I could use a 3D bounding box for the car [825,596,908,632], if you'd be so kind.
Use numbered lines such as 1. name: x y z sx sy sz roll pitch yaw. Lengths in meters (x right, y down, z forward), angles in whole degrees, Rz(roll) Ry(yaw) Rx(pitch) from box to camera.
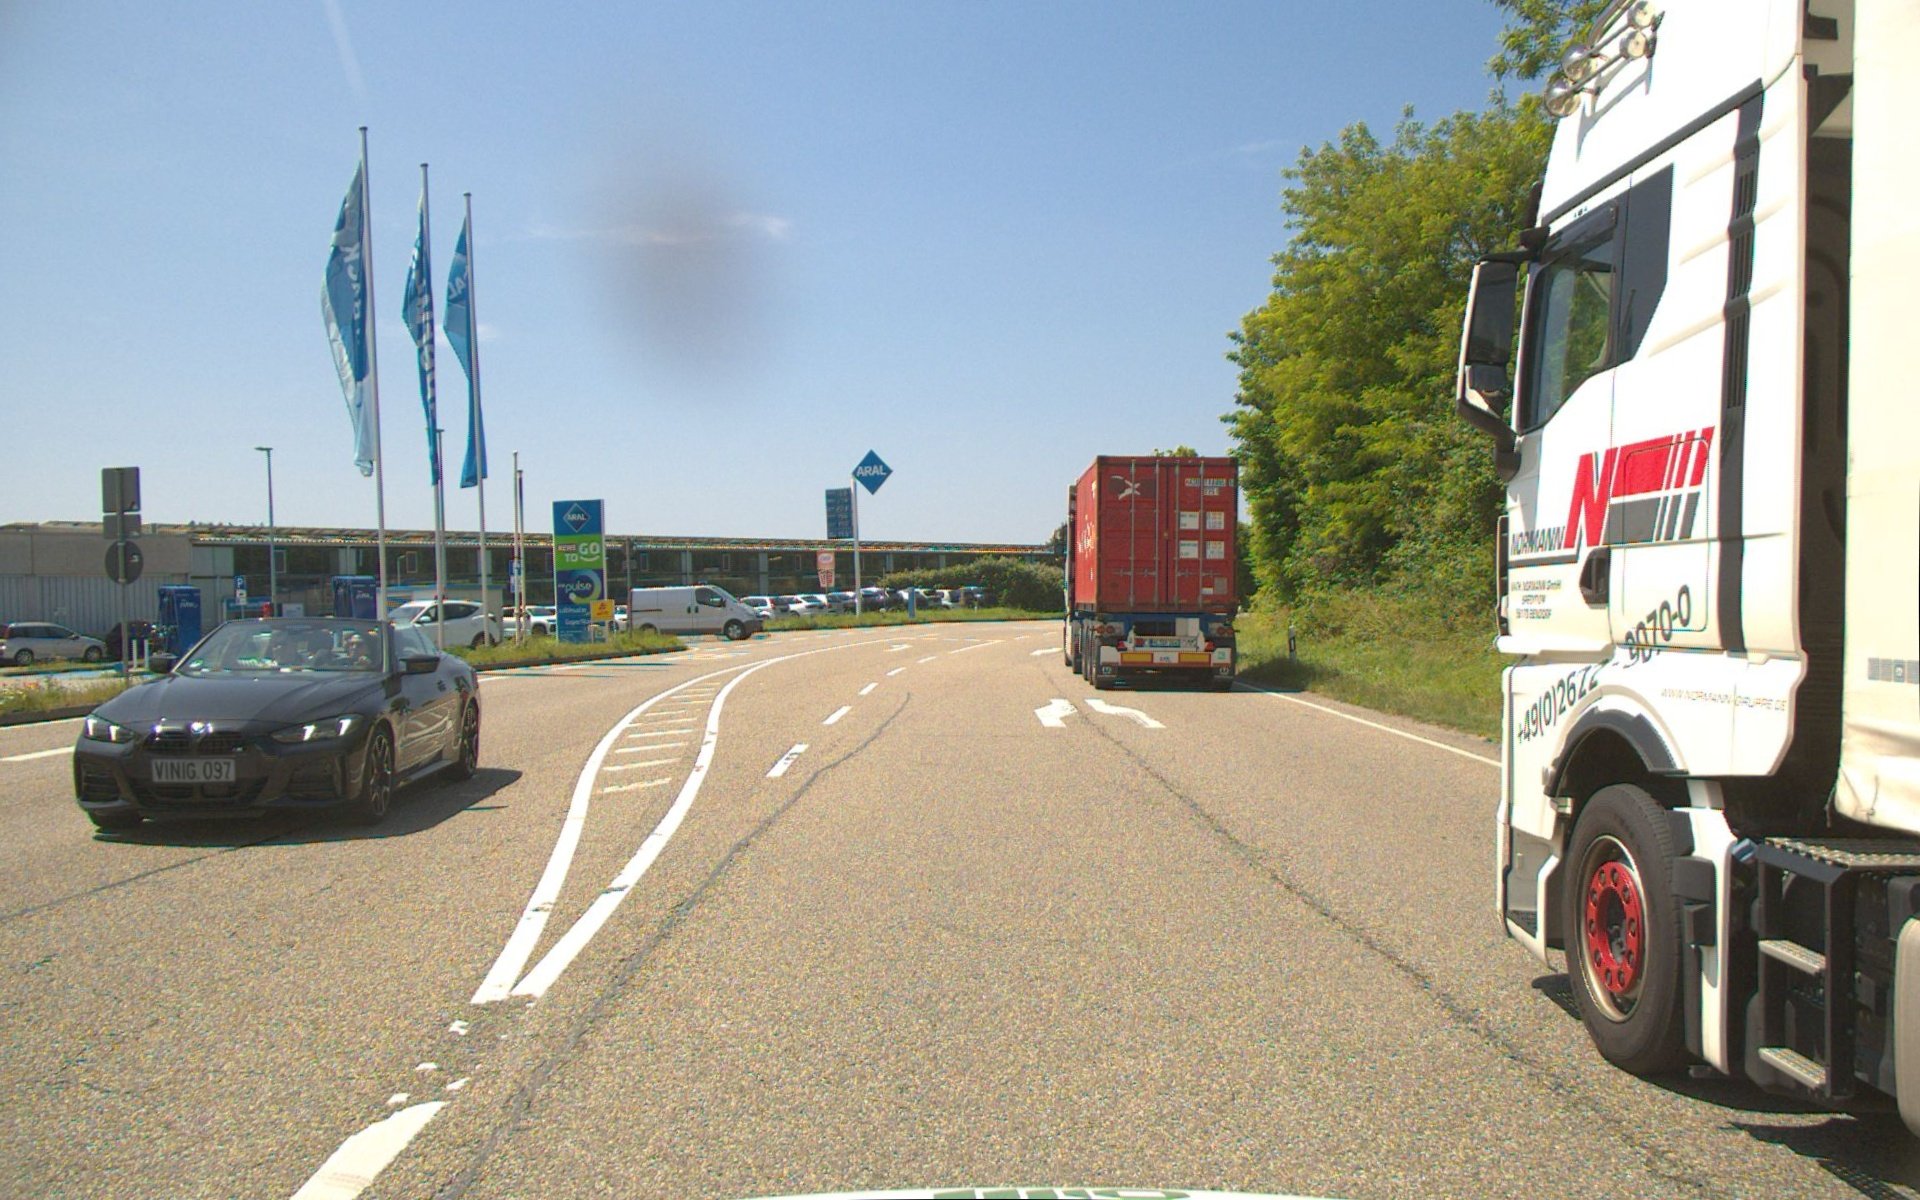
1. car: -4.880 0.744 86.234 3.911 1.780 1.997 -1 -1 29

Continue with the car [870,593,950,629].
1. car: -2.774 0.610 91.310 3.910 1.780 1.997 -2 0 28

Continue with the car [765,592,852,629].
1. car: -7.535 0.515 82.214 3.911 1.780 1.932 -1 0 29

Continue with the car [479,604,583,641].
1. car: -20.230 1.065 78.036 4.489 1.530 1.998 -2 0 26

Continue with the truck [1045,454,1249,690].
1. truck: 3.459 -0.507 34.243 2.593 3.873 13.358 1 0 0

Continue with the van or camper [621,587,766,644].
1. van or camper: -9.377 0.561 58.474 4.746 1.938 1.905 0 -1 2

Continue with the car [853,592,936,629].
1. car: -3.501 0.557 88.639 3.910 1.780 1.997 -2 0 28

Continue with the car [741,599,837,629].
1. car: -8.235 0.695 79.658 4.154 1.383 1.998 -1 0 27

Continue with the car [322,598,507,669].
1. car: -14.264 0.869 43.463 1.829 1.742 4.507 -1 -1 32

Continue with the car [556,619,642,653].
1. car: -17.948 1.784 82.186 3.910 1.610 1.816 -1 -1 27

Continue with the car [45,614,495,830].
1. car: -4.744 0.770 12.085 1.812 1.293 4.172 0 -1 -5

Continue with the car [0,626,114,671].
1. car: -32.406 1.703 58.748 1.722 1.467 3.890 -1 0 32

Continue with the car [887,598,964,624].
1. car: -1.931 0.620 93.515 3.908 1.340 1.832 -2 0 26

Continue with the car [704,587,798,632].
1. car: -9.803 0.455 77.560 3.909 2.049 1.998 -1 0 27

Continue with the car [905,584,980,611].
1. car: -0.993 -0.137 95.463 3.908 1.386 1.819 -2 0 25
